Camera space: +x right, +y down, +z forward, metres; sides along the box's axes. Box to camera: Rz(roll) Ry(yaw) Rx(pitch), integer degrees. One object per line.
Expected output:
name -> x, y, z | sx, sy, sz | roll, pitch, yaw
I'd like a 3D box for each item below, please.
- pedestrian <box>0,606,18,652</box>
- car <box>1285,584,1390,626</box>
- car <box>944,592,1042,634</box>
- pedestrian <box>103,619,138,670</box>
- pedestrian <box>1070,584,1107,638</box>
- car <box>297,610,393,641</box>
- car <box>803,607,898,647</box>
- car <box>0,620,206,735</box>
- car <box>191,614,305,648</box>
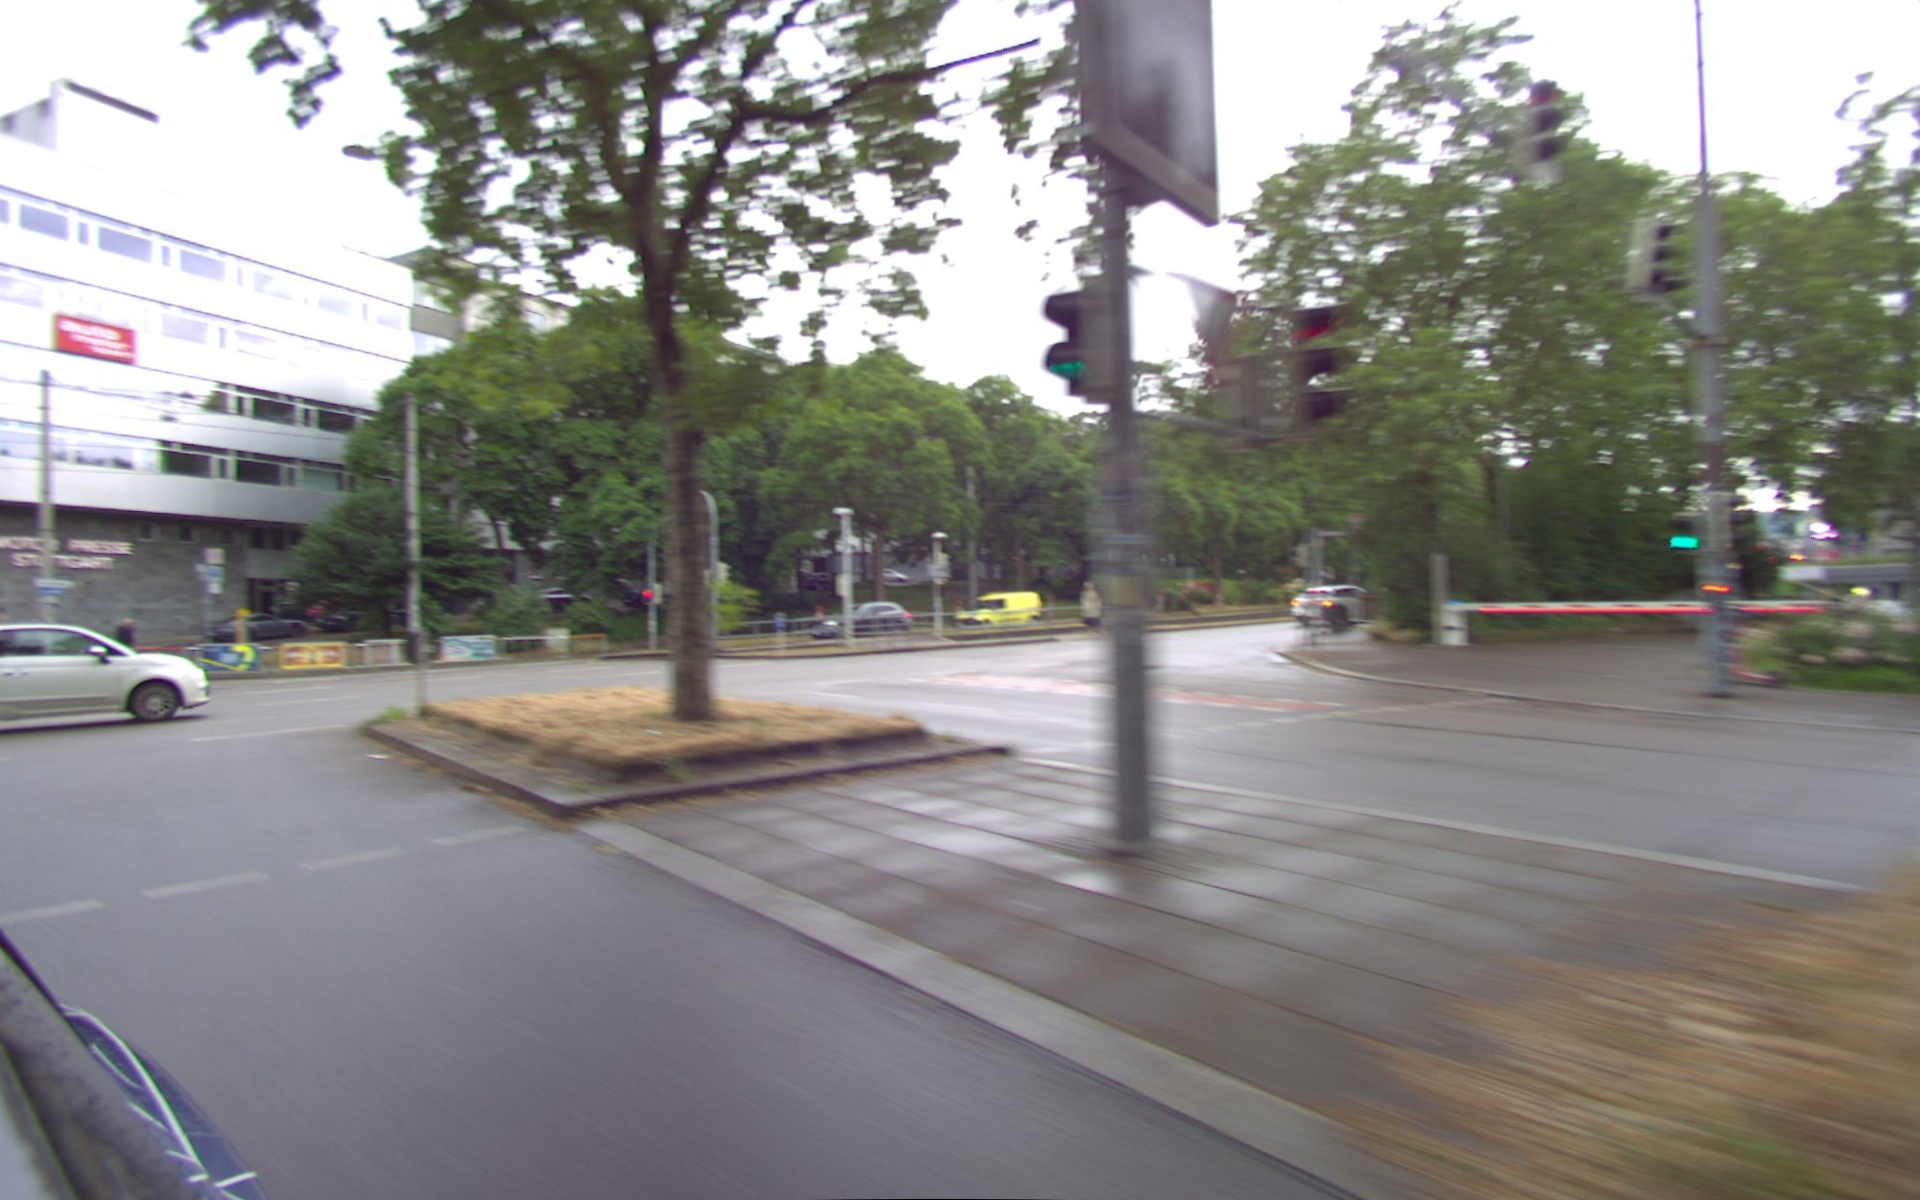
pedestrian -> -40.287, 1.228, 42.517 | 0.716, 1.874, 0.753 | -2, 1, 27
car -> 14.665, 0.185, 39.264 | 4.405, 1.453, 1.804 | -1, -4, -40
car -> 1.630, 0.618, 49.139 | 4.494, 1.865, 1.929 | -1, -2, -39
pedestrian -> -31.380, 1.669, 37.838 | 0.843, 1.875, 0.714 | -1, -1, 24
pedestrian -> 4.444, 0.374, 35.099 | 0.872, 1.816, 0.856 | -3, -1, 42
car -> -32.004, 1.290, 52.783 | 1.865, 1.441, 3.973 | -3, 0, 20
car -> -4.763, 1.164, 44.254 | 3.622, 1.557, 1.929 | -1, -2, -39
car -> -12.832, 1.099, 14.261 | 3.387, 1.445, 1.657 | -2, -3, -42
car -> -33.773, 1.449, 48.121 | 1.865, 1.441, 4.066 | -3, 0, 20
